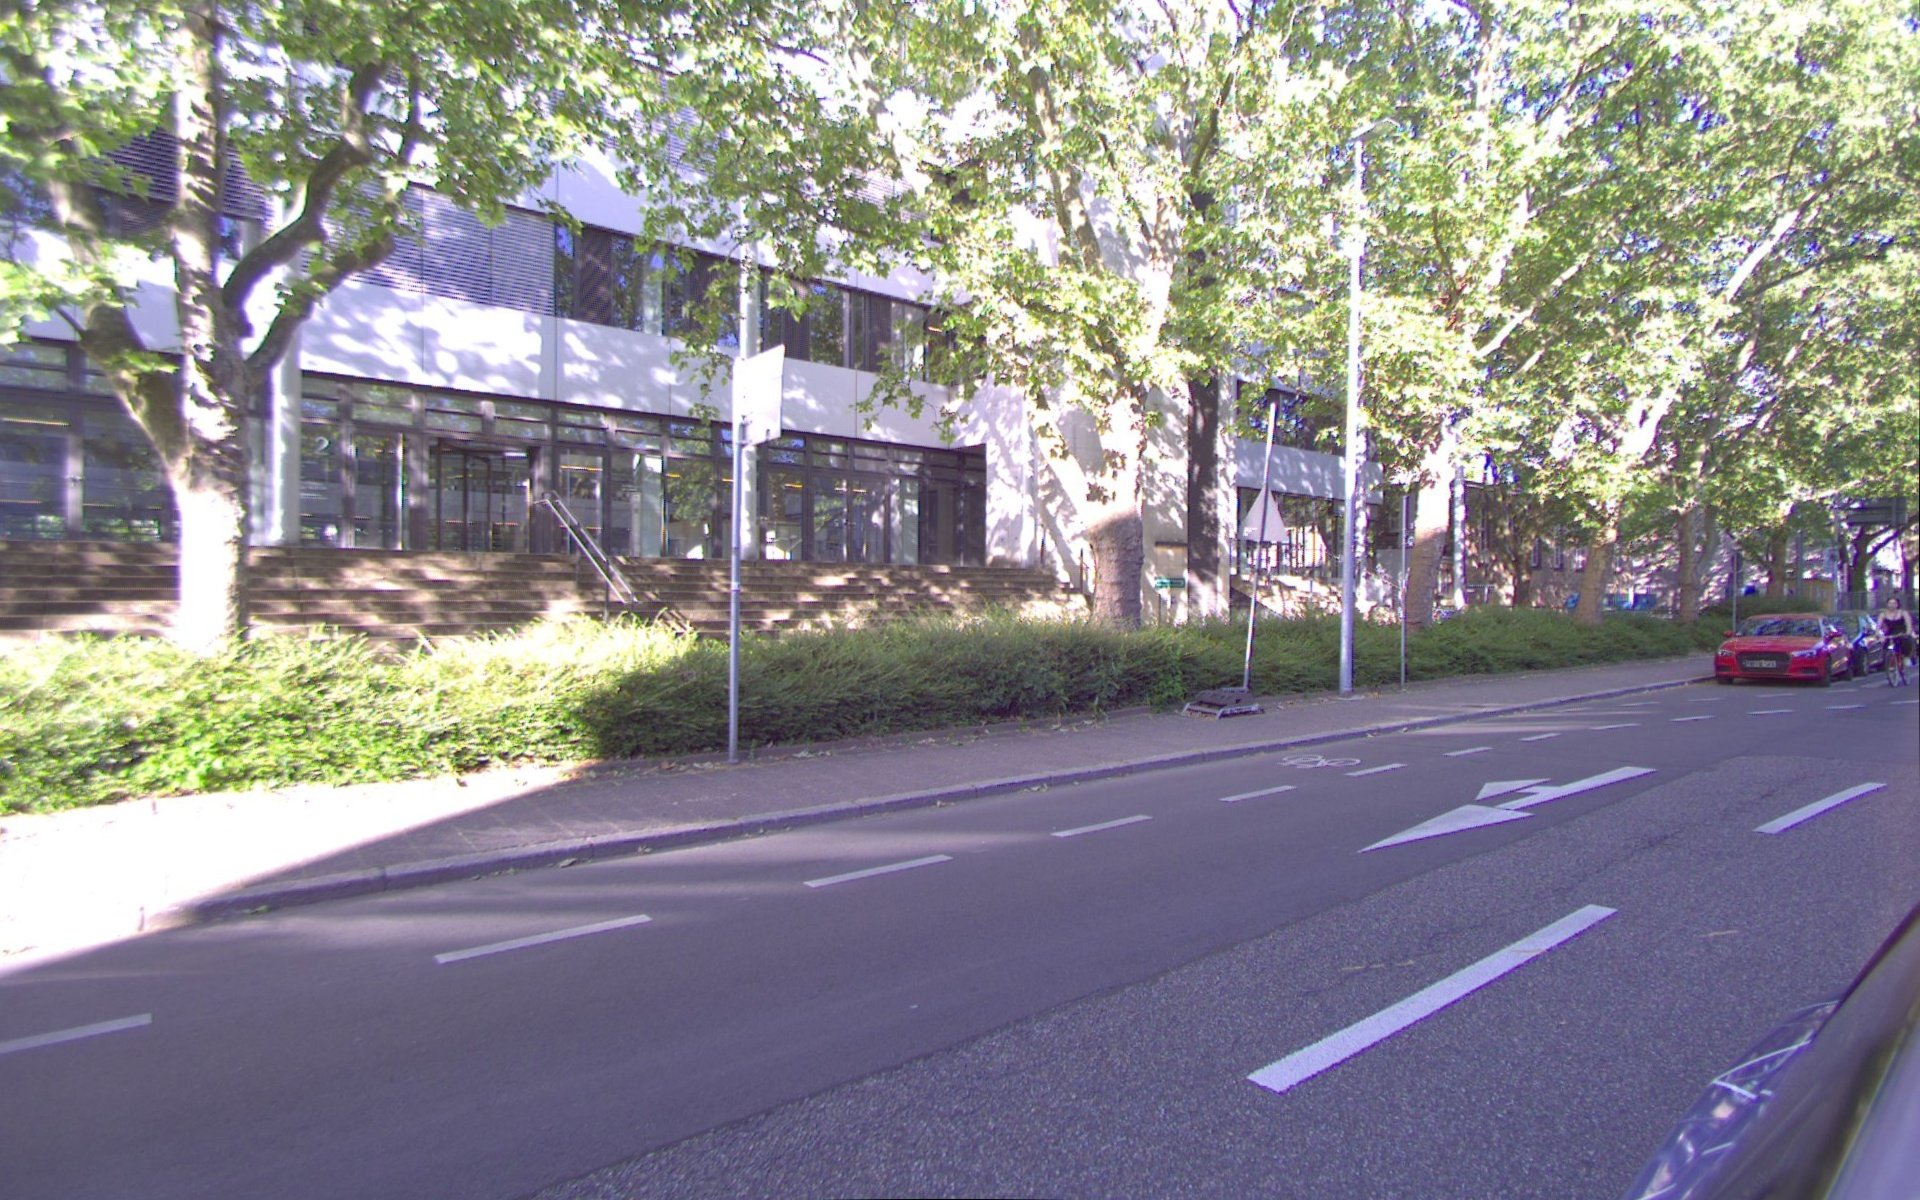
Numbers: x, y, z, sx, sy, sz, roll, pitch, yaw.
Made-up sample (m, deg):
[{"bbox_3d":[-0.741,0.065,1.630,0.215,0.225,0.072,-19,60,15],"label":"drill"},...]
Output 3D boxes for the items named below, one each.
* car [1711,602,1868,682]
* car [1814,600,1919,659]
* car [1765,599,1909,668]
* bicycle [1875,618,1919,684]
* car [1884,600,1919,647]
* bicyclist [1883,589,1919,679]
[{"bbox_3d":[17.161,0.784,20.882,4.006,1.461,1.897,0,0,-41],"label":"car"},{"bbox_3d":[24.818,0.739,27.379,4.003,1.469,1.898,0,0,-39],"label":"car"},{"bbox_3d":[20.709,0.721,23.867,4.003,1.466,1.898,0,0,-39],"label":"car"},{"bbox_3d":[18.284,0.942,19.373,2.766,1.150,0.769,-1,-1,-41],"label":"bicycle"},{"bbox_3d":[31.973,0.736,33.196,4.003,1.469,1.898,0,0,-39],"label":"car"},{"bbox_3d":[18.411,0.633,19.499,0.880,1.701,0.769,0,-2,-41],"label":"bicyclist"}]
